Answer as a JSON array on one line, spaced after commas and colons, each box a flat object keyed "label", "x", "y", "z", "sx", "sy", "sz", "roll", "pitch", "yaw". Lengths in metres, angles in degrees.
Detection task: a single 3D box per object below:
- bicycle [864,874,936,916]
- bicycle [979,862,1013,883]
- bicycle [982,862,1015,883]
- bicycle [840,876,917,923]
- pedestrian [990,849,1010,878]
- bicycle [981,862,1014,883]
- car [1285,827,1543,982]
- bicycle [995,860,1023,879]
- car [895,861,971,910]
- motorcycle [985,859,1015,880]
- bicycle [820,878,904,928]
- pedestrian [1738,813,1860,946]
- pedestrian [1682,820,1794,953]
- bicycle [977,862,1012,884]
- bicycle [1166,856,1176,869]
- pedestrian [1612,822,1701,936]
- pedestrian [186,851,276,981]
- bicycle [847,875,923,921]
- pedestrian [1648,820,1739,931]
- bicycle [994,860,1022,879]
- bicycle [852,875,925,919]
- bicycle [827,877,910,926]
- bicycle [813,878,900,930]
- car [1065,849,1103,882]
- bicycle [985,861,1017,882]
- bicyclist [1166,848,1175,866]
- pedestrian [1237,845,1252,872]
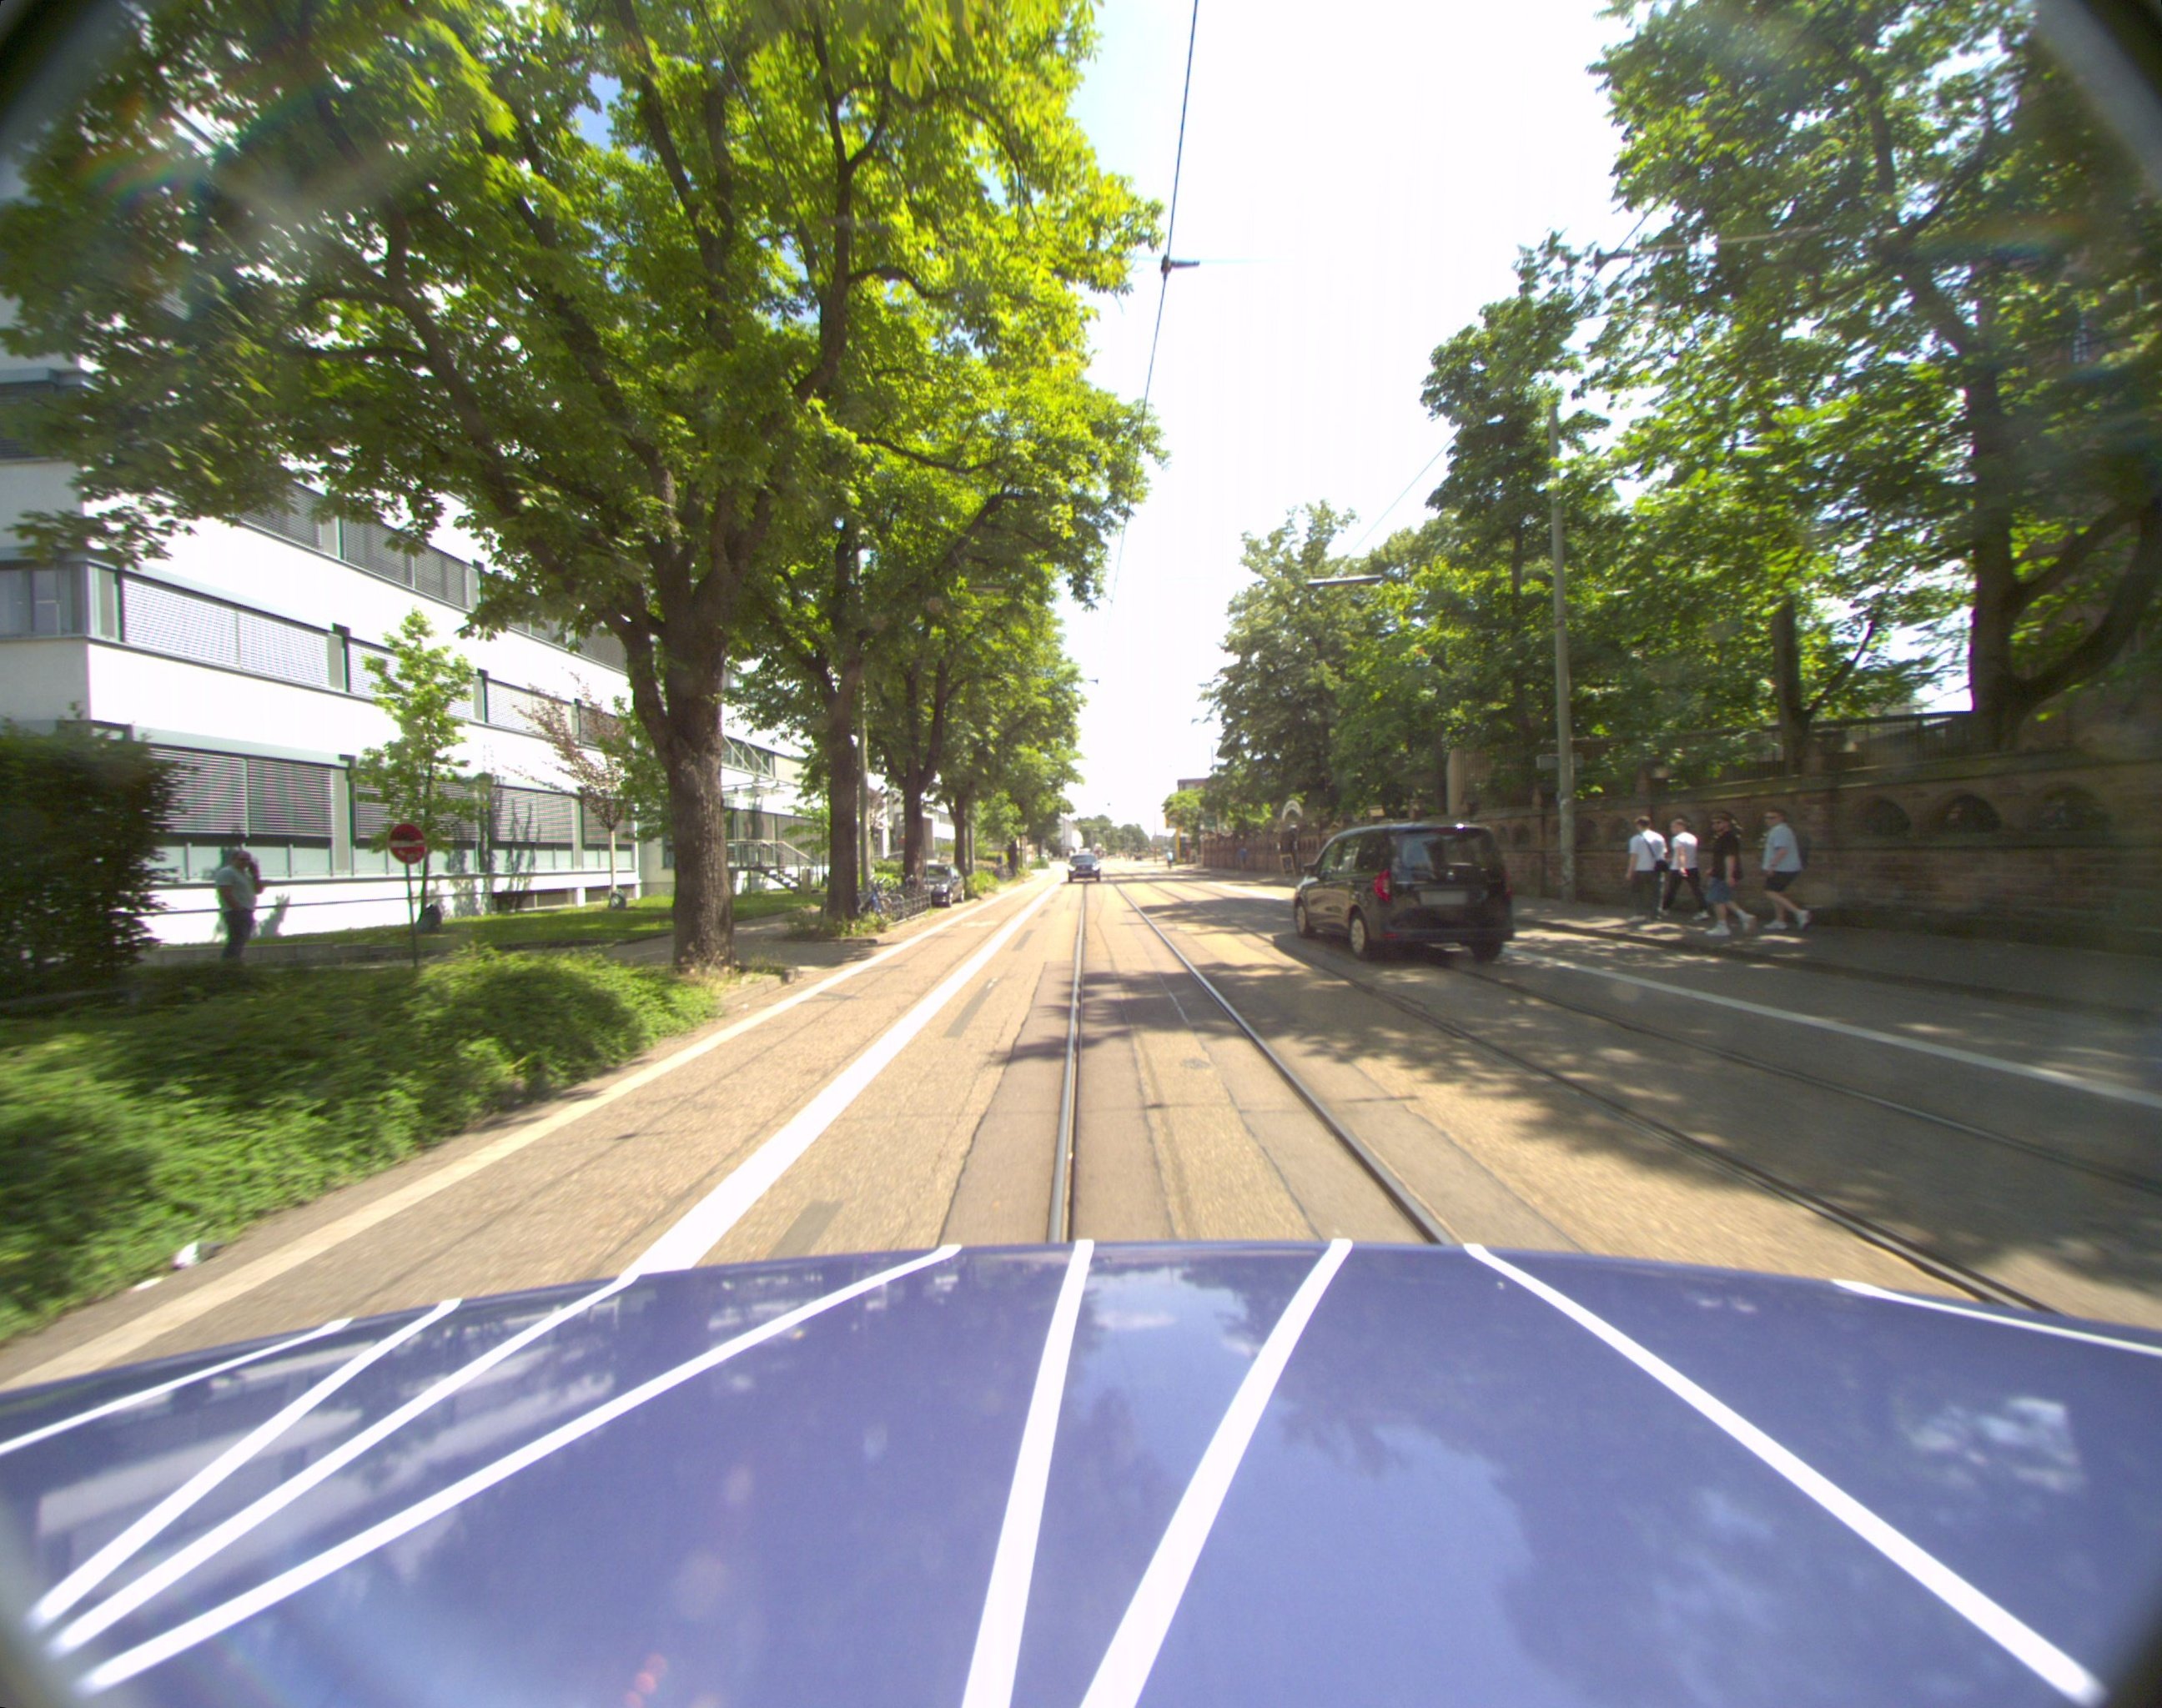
[{"label": "bicycle", "x": -4.927, "y": 1.104, "z": 20.756, "sx": 1.813, "sy": 1.105, "sz": 0.514, "roll": -1, "pitch": 1, "yaw": -3}, {"label": "bicycle", "x": -4.816, "y": 1.058, "z": 43.100, "sx": 1.813, "sy": 1.105, "sz": 0.569, "roll": -3, "pitch": 1, "yaw": -3}, {"label": "bicycle", "x": -4.809, "y": 1.052, "z": 44.309, "sx": 1.813, "sy": 1.105, "sz": 0.569, "roll": -3, "pitch": 1, "yaw": -3}, {"label": "bicycle", "x": -5.004, "y": 1.114, "z": 18.828, "sx": 1.814, "sy": 1.105, "sz": 0.489, "roll": -1, "pitch": 1, "yaw": -13}, {"label": "pedestrian", "x": -5.291, "y": 0.624, "z": 49.787, "sx": 0.986, "sy": 1.822, "sz": 0.786, "roll": -3, "pitch": 1, "yaw": -43}, {"label": "bicycle", "x": -4.806, "y": 1.047, "z": 43.738, "sx": 1.813, "sy": 1.105, "sz": 0.569, "roll": -3, "pitch": 1, "yaw": -3}, {"label": "car", "x": 4.480, "y": 0.586, "z": 11.053, "sx": 1.909, "sy": 1.778, "sz": 4.255, "roll": -1, "pitch": 0, "yaw": 1}, {"label": "bicycle", "x": -4.820, "y": 1.017, "z": 50.582, "sx": 1.819, "sy": 1.158, "sz": 0.710, "roll": -2, "pitch": 1, "yaw": -7}, {"label": "car", "x": -4.981, "y": 1.009, "z": 26.178, "sx": 1.681, "sy": 1.458, "sz": 4.634, "roll": -1, "pitch": 0, "yaw": 0}, {"label": "motorcycle", "x": -5.015, "y": 0.962, "z": 47.139, "sx": 1.819, "sy": 1.269, "sz": 0.720, "roll": -2, "pitch": 1, "yaw": -7}, {"label": "bicycle", "x": -5.043, "y": 1.119, "z": 17.555, "sx": 1.812, "sy": 1.105, "sz": 0.395, "roll": -1, "pitch": 1, "yaw": -3}, {"label": "pedestrian", "x": 10.172, "y": 0.347, "z": 10.805, "sx": 0.754, "sy": 1.766, "sz": 0.919, "roll": -4, "pitch": 1, "yaw": 1}, {"label": "pedestrian", "x": 9.179, "y": 0.439, "z": 10.655, "sx": 0.679, "sy": 1.738, "sz": 0.919, "roll": -4, "pitch": 1, "yaw": 1}, {"label": "bicycle", "x": -4.829, "y": 1.060, "z": 42.440, "sx": 1.846, "sy": 1.105, "sz": 0.569, "roll": -3, "pitch": 1, "yaw": -3}, {"label": "bicycle", "x": 8.109, "y": 0.739, "z": 68.729, "sx": 0.661, "sy": 1.156, "sz": 1.895, "roll": 0, "pitch": 0, "yaw": 1}, {"label": "pedestrian", "x": 9.523, "y": 0.399, "z": 12.606, "sx": 0.679, "sy": 1.780, "sz": 0.919, "roll": -4, "pitch": 1, "yaw": 1}, {"label": "pedestrian", "x": -11.864, "y": 0.829, "z": 10.625, "sx": 0.658, "sy": 1.738, "sz": 0.626, "roll": -1, "pitch": 1, "yaw": -32}, {"label": "bicycle", "x": -5.000, "y": 1.122, "z": 19.485, "sx": 1.813, "sy": 1.105, "sz": 0.533, "roll": -1, "pitch": 1, "yaw": -8}, {"label": "pedestrian", "x": 10.293, "y": 0.349, "z": 12.808, "sx": 0.679, "sy": 1.766, "sz": 0.919, "roll": -4, "pitch": 1, "yaw": 1}, {"label": "bicycle", "x": -4.740, "y": 1.018, "z": 49.276, "sx": 1.819, "sy": 1.158, "sz": 0.710, "roll": -2, "pitch": 1, "yaw": -7}, {"label": "bicycle", "x": -5.065, "y": 1.119, "z": 20.105, "sx": 1.813, "sy": 1.105, "sz": 0.535, "roll": -1, "pitch": 1, "yaw": -8}, {"label": "bicycle", "x": -5.011, "y": 1.111, "z": 17.955, "sx": 1.812, "sy": 1.105, "sz": 0.395, "roll": -1, "pitch": 1, "yaw": -2}, {"label": "bicycle", "x": -5.036, "y": 1.120, "z": 17.124, "sx": 1.812, "sy": 1.105, "sz": 0.449, "roll": -1, "pitch": 1, "yaw": -2}, {"label": "car", "x": 0.173, "y": 0.612, "z": 43.253, "sx": 1.998, "sy": 1.731, "sz": 4.227, "roll": -3, "pitch": 0, "yaw": 1}, {"label": "bicycle", "x": -4.806, "y": 1.050, "z": 45.492, "sx": 1.813, "sy": 1.105, "sz": 0.569, "roll": -3, "pitch": 1, "yaw": -3}, {"label": "bicyclist", "x": 8.118, "y": 0.266, "z": 68.856, "sx": 0.665, "sy": 1.615, "sz": 0.919, "roll": 1, "pitch": 1, "yaw": 1}, {"label": "pedestrian", "x": 10.822, "y": 0.274, "z": 50.297, "sx": 0.750, "sy": 1.738, "sz": 0.919, "roll": -4, "pitch": 1, "yaw": 1}]
